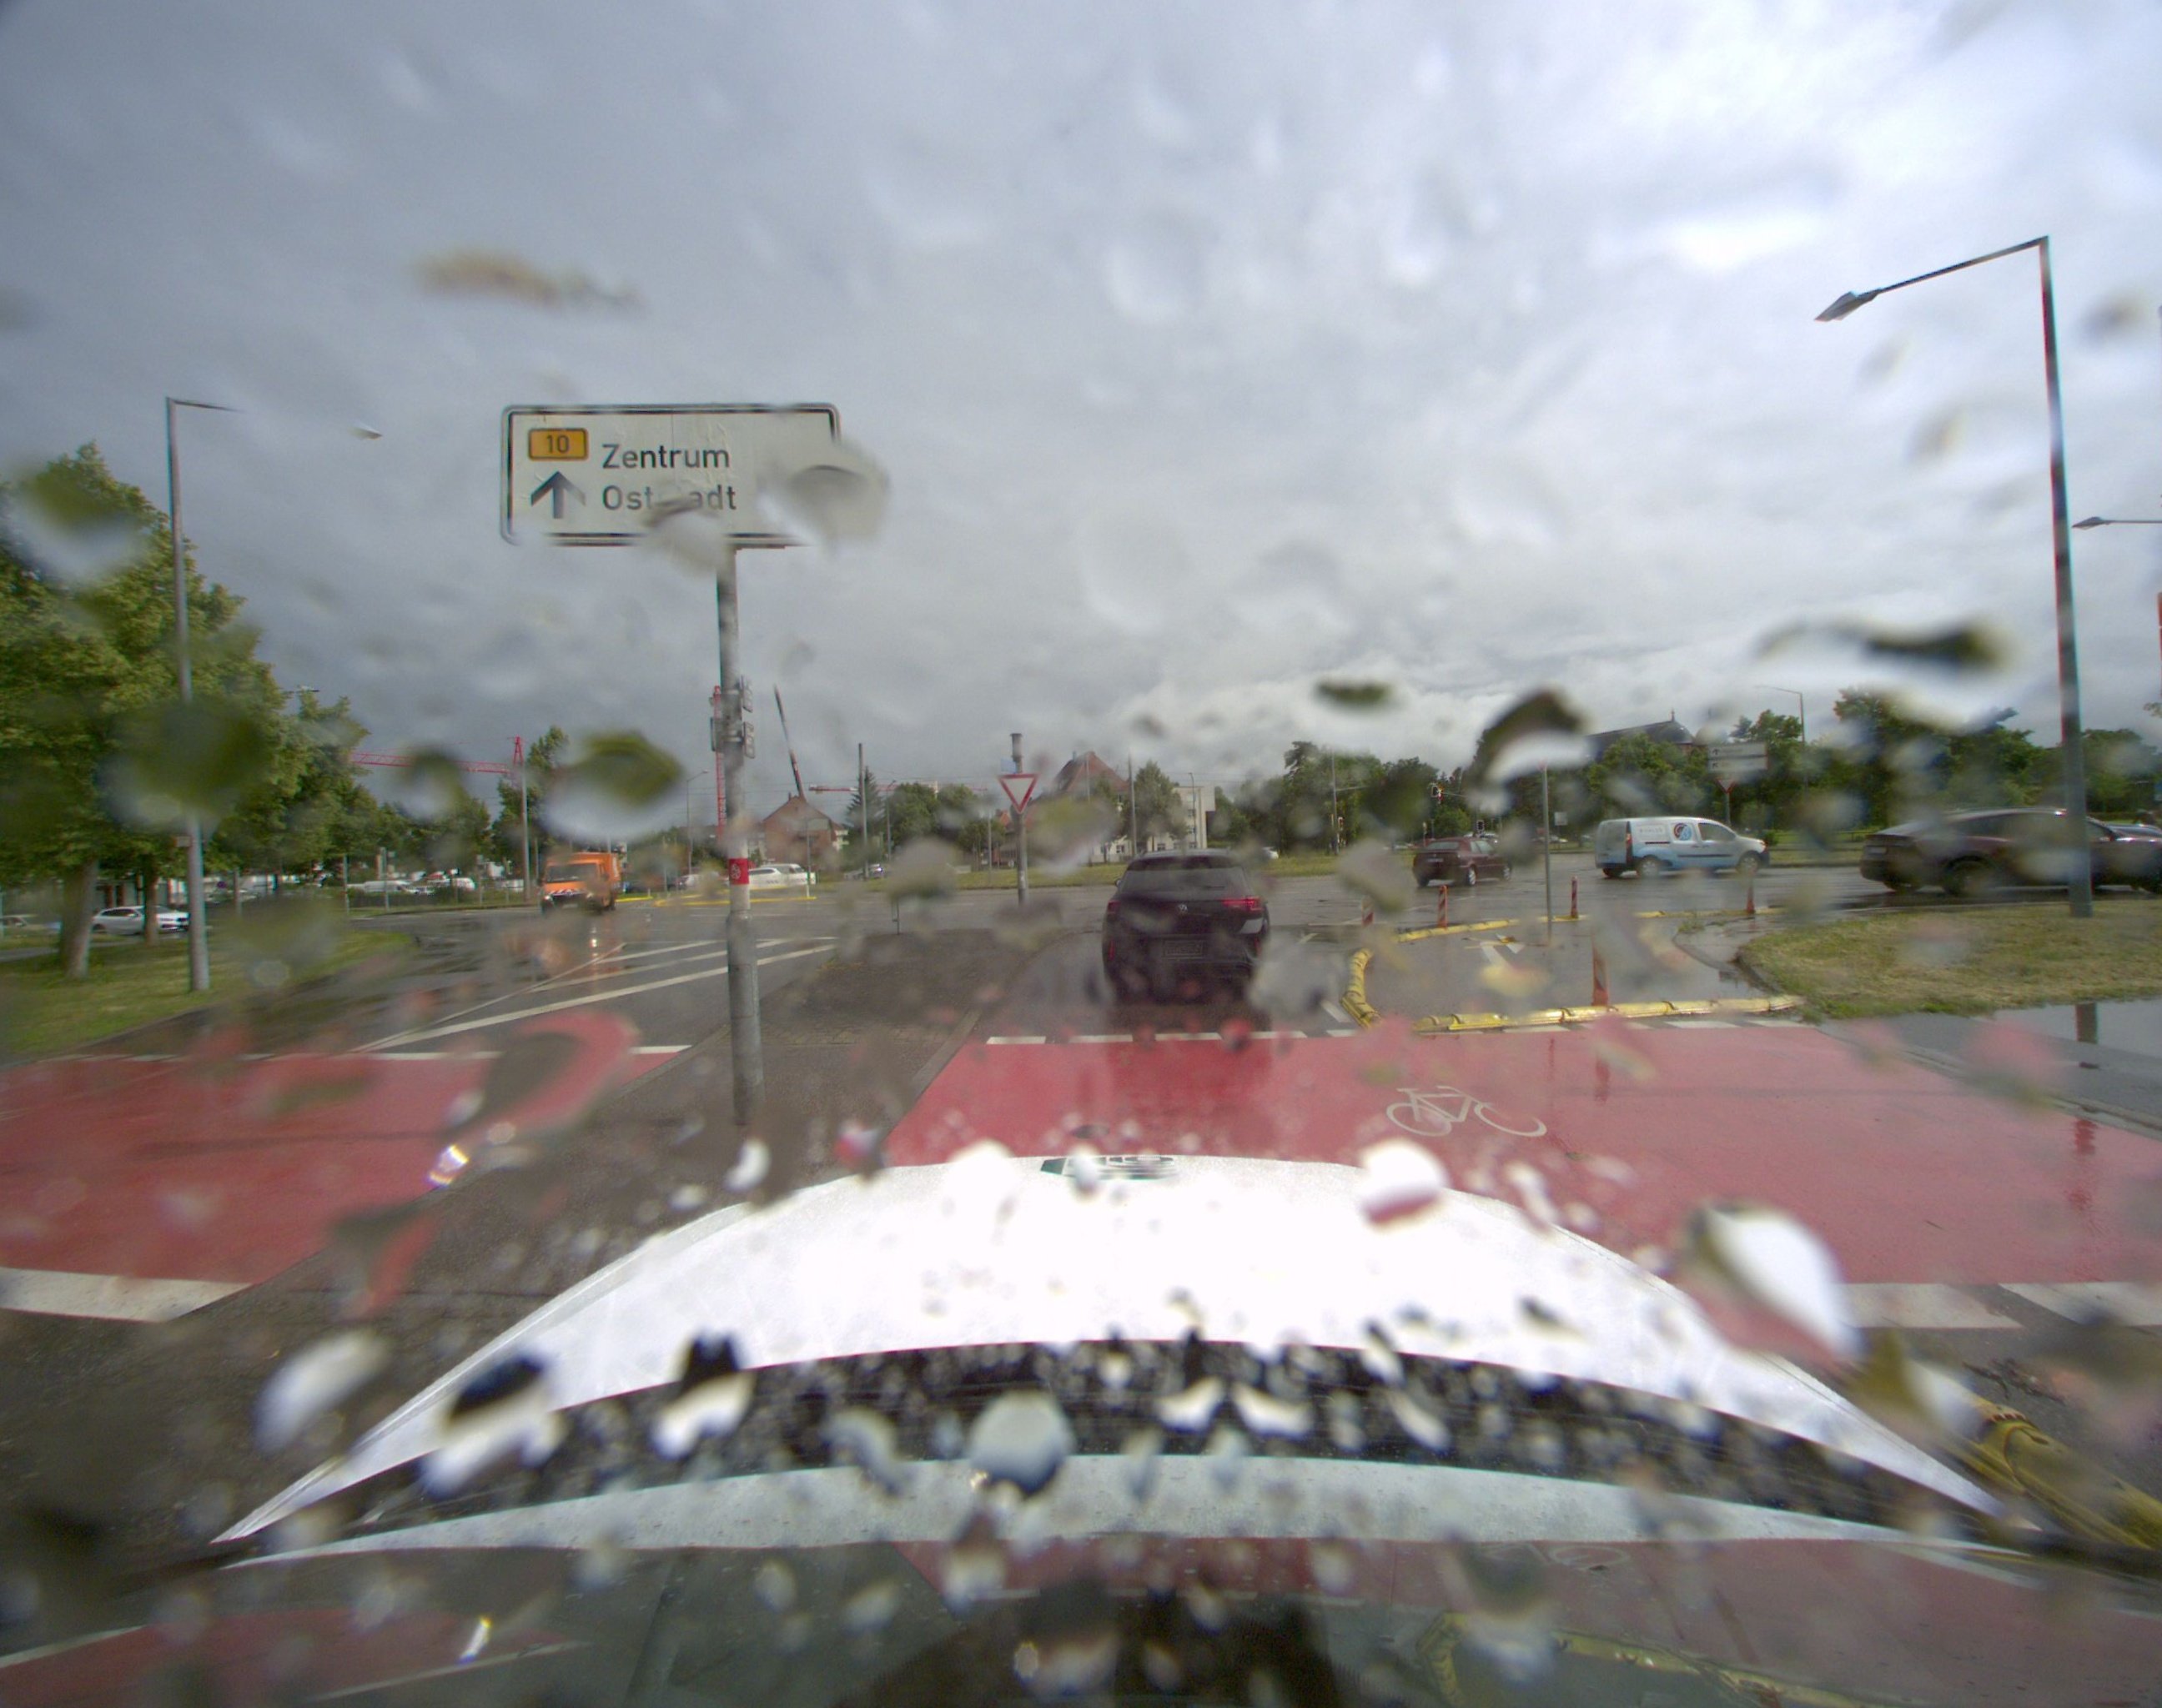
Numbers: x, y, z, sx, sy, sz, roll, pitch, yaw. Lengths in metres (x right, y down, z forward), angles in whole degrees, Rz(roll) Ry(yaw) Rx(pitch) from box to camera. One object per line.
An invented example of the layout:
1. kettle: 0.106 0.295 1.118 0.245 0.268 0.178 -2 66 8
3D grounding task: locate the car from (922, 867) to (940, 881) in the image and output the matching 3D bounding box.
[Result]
1. car: -18.082 2.358 98.276 1.541 1.560 3.498 -2 0 -1

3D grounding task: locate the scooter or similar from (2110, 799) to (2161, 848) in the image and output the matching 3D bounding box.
1. scooter or similar: 45.926 -1.286 34.637 1.225 2.014 3.428 -1 0 24

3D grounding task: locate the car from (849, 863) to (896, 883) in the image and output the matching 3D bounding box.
1. car: -18.195 1.641 71.189 3.699 1.560 1.555 -3 0 -43

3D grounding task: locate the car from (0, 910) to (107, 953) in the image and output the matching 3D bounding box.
1. car: -49.672 3.715 38.879 4.432 1.672 1.870 -4 0 7

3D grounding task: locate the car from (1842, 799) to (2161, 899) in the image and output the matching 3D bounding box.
1. car: 18.268 -0.101 15.992 4.450 1.657 1.883 -3 1 16

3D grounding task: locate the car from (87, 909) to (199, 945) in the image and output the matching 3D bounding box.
1. car: -48.355 3.748 42.019 3.874 1.508 1.729 -3 0 4

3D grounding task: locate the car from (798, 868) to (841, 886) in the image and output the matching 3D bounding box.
1. car: -28.285 2.496 88.228 1.974 1.684 4.026 -2 0 36

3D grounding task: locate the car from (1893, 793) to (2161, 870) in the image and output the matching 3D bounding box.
1. car: 25.453 -0.587 22.137 4.271 1.757 2.053 -3 1 21

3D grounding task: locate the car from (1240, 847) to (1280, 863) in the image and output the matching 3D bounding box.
1. car: 17.739 0.082 80.754 3.454 1.454 1.560 -3 0 38

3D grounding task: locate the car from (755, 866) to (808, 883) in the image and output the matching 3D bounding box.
1. car: -38.368 2.634 104.398 6.207 2.085 2.049 -1 0 10

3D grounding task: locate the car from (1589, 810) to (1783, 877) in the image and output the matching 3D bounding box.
1. car: 18.308 -0.327 24.795 4.523 1.762 1.867 -2 0 -1

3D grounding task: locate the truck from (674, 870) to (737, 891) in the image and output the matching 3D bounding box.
1. truck: -41.860 2.918 90.778 6.041 2.211 2.405 -1 0 11

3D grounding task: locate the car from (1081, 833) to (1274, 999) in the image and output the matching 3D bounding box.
1. car: 1.292 0.623 10.056 1.886 1.618 4.011 -1 0 10

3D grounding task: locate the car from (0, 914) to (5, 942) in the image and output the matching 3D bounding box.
1. car: -59.142 4.028 42.491 3.874 1.508 1.729 -3 0 4

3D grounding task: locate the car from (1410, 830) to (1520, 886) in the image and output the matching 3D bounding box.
1. car: 11.785 0.097 24.895 4.024 1.462 1.699 -4 1 -44

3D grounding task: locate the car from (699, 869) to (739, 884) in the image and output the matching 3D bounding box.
1. car: -43.669 2.686 98.312 3.965 1.700 1.934 -1 0 7

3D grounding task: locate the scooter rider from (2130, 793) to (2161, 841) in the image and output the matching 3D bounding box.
1. scooter rider: 46.287 -1.596 35.276 0.698 2.014 0.774 -1 -1 21

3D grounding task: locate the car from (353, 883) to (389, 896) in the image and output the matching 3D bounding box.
1. car: -95.816 4.784 109.949 3.474 1.560 1.551 -3 0 3

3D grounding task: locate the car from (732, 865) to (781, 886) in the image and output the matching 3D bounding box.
1. car: -26.146 1.711 65.540 3.508 1.510 1.487 -2 0 -28

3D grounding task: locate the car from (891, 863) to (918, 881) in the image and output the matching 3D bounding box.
1. car: -17.849 1.799 82.425 1.786 1.585 3.999 -2 0 0

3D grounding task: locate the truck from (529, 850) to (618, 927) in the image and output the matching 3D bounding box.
1. truck: -20.853 1.344 33.787 2.468 2.726 6.883 -3 0 -27

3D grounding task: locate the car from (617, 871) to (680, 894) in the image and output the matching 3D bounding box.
1. car: -33.171 2.175 62.558 4.003 1.517 1.790 -3 0 -22

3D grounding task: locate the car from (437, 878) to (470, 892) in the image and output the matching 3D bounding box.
1. car: -90.554 4.426 117.520 3.576 1.722 1.500 -3 0 1
